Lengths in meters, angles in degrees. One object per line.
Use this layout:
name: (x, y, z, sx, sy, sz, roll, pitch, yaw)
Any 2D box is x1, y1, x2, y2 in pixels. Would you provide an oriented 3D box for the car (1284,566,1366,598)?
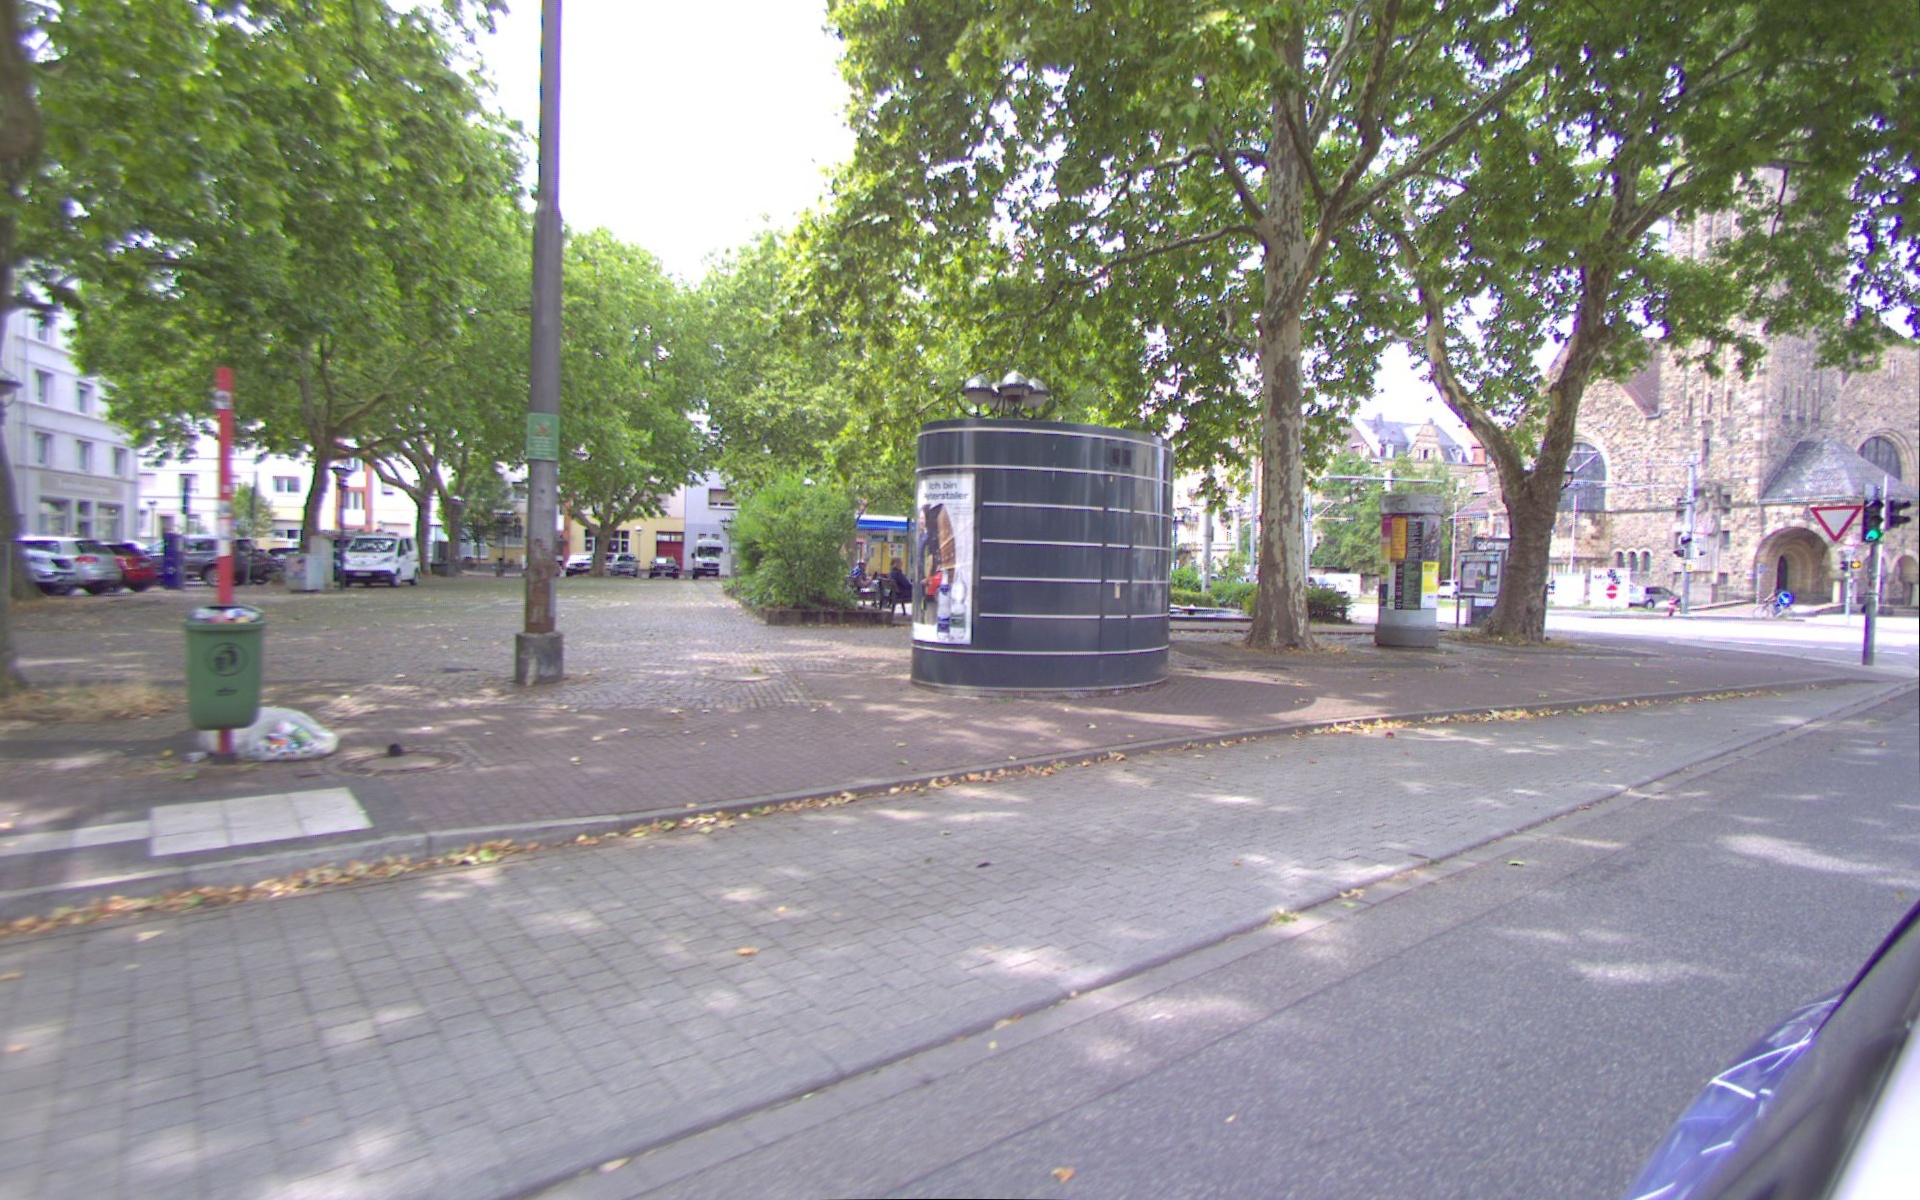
car: (19.061, -0.966, 53.043, 1.800, 1.530, 4.298, 2, 2, -16)

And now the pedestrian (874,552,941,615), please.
pedestrian: (-1.086, -0.343, 20.664, 1.116, 1.227, 1.102, 1, 2, -15)

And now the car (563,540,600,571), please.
car: (-23.812, -2.798, 63.717, 1.958, 1.838, 4.010, 1, 2, -18)

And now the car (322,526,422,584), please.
car: (-20.510, -1.583, 35.484, 1.958, 1.838, 4.344, 1, 2, -16)

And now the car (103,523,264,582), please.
car: (-26.102, -1.571, 34.194, 3.916, 1.838, 1.922, 1, 2, -21)

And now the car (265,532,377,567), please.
car: (-30.246, -2.389, 48.021, 4.018, 1.501, 2.003, 2, 2, -6)

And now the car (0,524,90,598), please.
car: (-22.854, -0.927, 23.073, 4.116, 1.638, 2.005, 1, 2, -20)

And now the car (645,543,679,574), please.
car: (-19.062, -2.647, 64.711, 1.958, 1.838, 4.010, 1, 2, -18)

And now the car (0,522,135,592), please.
car: (-23.704, -1.107, 25.591, 3.915, 1.660, 2.005, 1, 2, -19)

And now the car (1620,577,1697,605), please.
car: (45.664, -0.575, 66.181, 3.916, 1.671, 2.005, 1, 2, -15)

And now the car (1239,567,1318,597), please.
car: (16.261, -0.965, 51.946, 1.800, 1.400, 4.298, 2, 2, -15)

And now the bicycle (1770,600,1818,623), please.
bicycle: (42.035, 0.572, 51.028, 0.586, 1.099, 1.816, 1, 0, -23)

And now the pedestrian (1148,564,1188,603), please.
pedestrian: (7.243, -0.586, 35.255, 0.849, 1.334, 1.182, 2, 1, -18)

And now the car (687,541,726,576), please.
car: (-16.331, -2.682, 65.027, 1.958, 2.133, 4.038, 1, 2, -20)

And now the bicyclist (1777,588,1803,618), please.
bicyclist: (41.975, 0.153, 51.177, 0.576, 1.516, 0.841, 1, 0, -23)

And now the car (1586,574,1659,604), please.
car: (45.093, -0.756, 68.926, 3.871, 1.905, 2.005, 1, 2, -15)

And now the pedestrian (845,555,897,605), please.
pedestrian: (-2.239, -0.505, 25.390, 1.100, 1.215, 0.891, 2, 1, -18)

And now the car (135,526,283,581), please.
car: (-27.065, -1.673, 36.642, 3.916, 1.838, 1.922, 1, 2, -21)

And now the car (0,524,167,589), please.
car: (-25.100, -1.228, 28.492, 3.915, 1.660, 2.005, 1, 2, -19)

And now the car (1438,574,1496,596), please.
car: (41.581, -1.254, 82.997, 3.871, 1.661, 2.005, 1, 2, -15)

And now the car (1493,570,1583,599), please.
car: (34.832, -0.972, 61.188, 1.731, 1.542, 4.859, 2, 2, -15)

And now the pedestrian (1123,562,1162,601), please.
pedestrian: (6.316, -0.651, 35.091, 0.849, 1.334, 1.182, 2, 1, -18)

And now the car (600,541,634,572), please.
car: (-21.711, -2.731, 64.184, 1.958, 1.838, 4.010, 1, 2, -18)

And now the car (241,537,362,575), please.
car: (-29.002, -1.932, 44.673, 4.018, 1.501, 2.003, 2, 2, -6)
